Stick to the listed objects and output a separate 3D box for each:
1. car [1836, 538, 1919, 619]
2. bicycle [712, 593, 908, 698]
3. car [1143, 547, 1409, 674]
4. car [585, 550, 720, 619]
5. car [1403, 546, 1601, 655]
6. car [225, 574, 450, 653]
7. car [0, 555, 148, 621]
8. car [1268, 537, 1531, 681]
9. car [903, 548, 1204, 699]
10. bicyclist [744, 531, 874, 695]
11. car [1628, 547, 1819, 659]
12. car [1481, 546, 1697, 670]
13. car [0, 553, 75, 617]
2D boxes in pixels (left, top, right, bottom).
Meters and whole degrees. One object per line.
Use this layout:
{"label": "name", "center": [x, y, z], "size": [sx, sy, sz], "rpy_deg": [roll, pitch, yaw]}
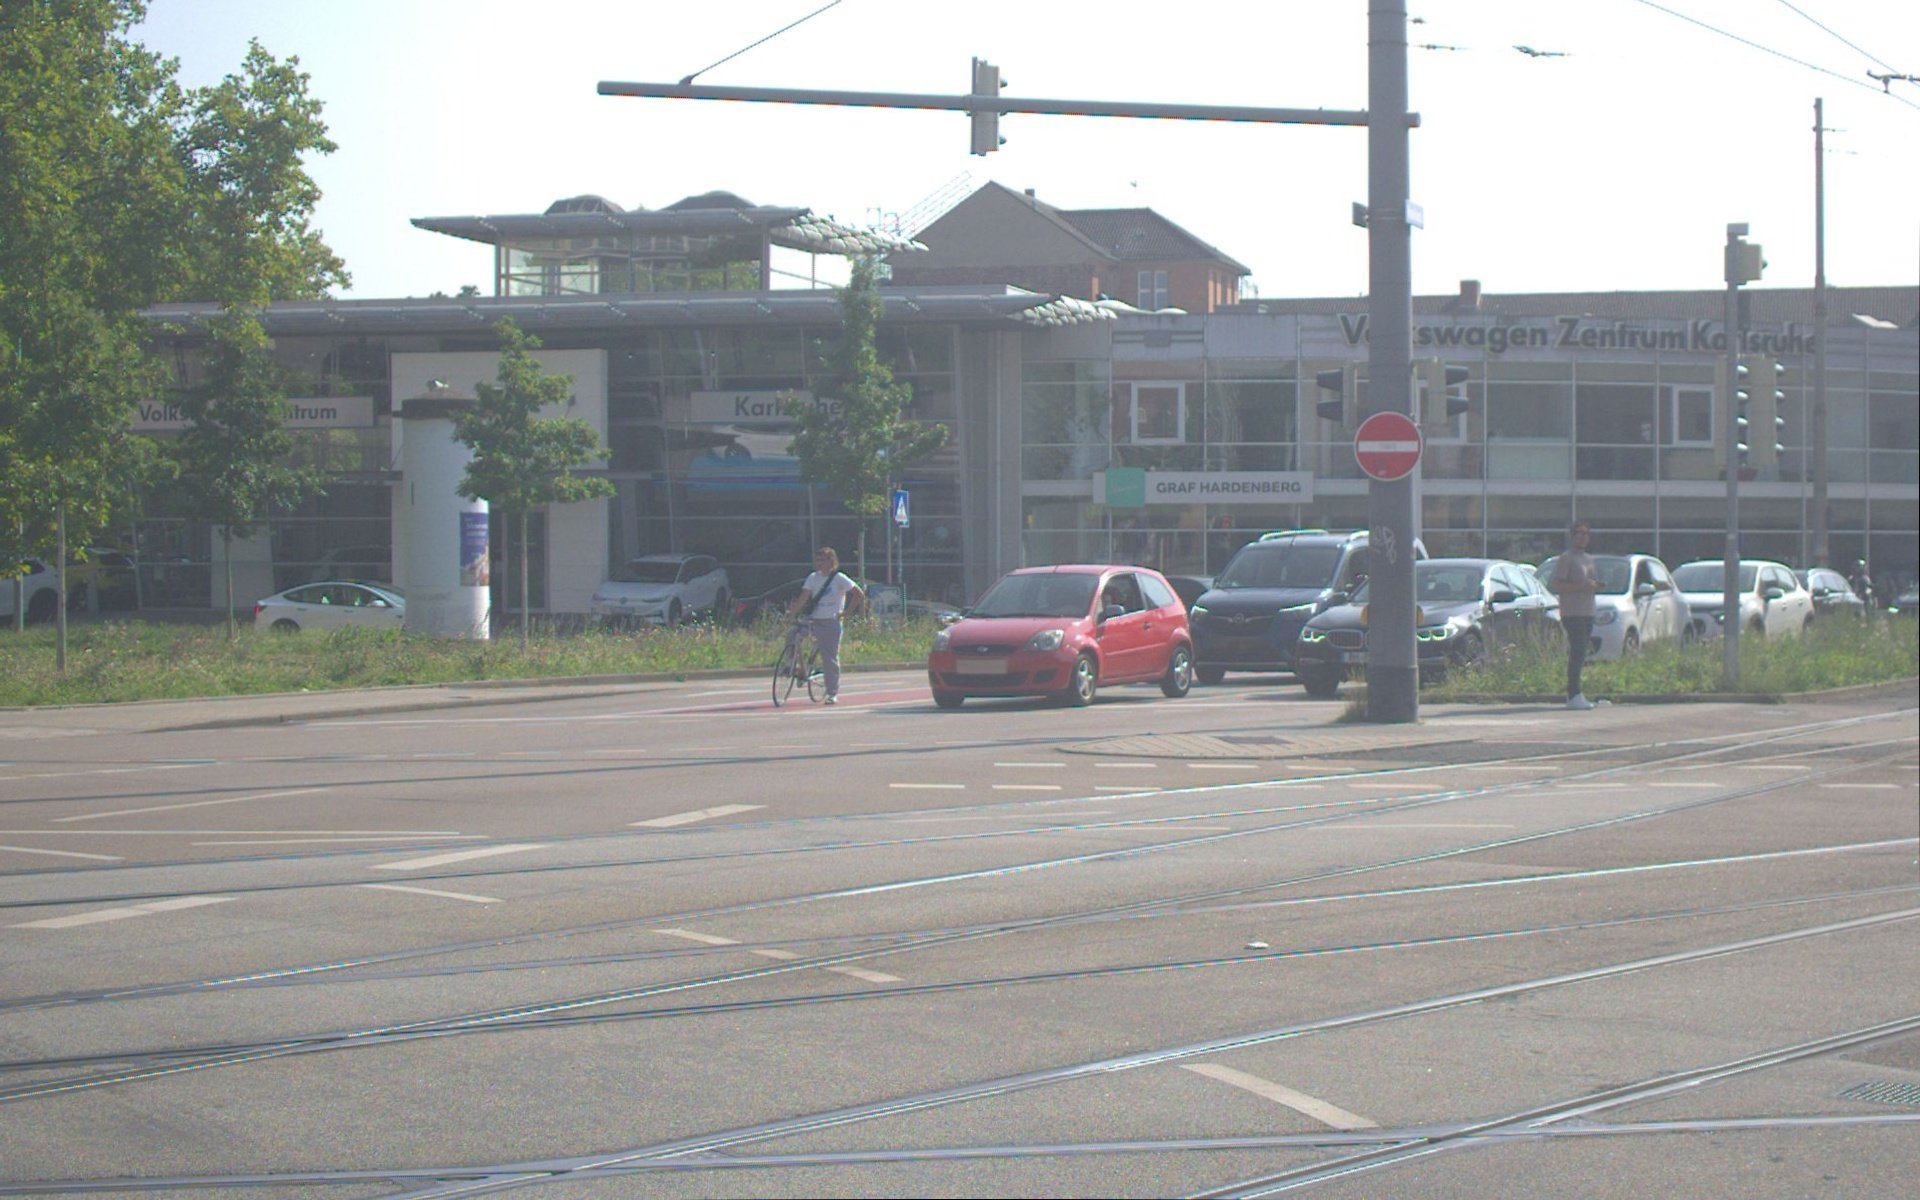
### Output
{"label": "car", "center": [18.102, -0.429, 65.925], "size": [1.616, 1.470, 3.994], "rpy_deg": [-2, 0, 27]}
{"label": "bicycle", "center": [-1.601, 0.474, 37.273], "size": [0.959, 1.053, 2.604], "rpy_deg": [1, 1, 27]}
{"label": "car", "center": [3.994, 0.104, 42.916], "size": [1.963, 1.470, 3.994], "rpy_deg": [-2, 0, 26]}
{"label": "car", "center": [-6.928, -0.373, 77.781], "size": [1.701, 1.517, 4.096], "rpy_deg": [0, 1, 15]}
{"label": "car", "center": [7.901, -0.012, 49.839], "size": [1.616, 1.470, 3.994], "rpy_deg": [-2, 0, 27]}
{"label": "car", "center": [-12.451, 0.255, 68.799], "size": [4.089, 1.517, 1.704], "rpy_deg": [0, 1, 17]}
{"label": "car", "center": [-21.669, -0.296, 81.567], "size": [1.704, 1.517, 4.503], "rpy_deg": [1, 1, 43]}
{"label": "car", "center": [4.899, 0.072, 37.875], "size": [1.616, 1.470, 3.994], "rpy_deg": [-2, 0, 26]}
{"label": "car", "center": [1.049, 0.217, 36.322], "size": [1.616, 1.470, 3.994], "rpy_deg": [-2, 0, 26]}
{"label": "bicyclist", "center": [-1.629, 0.129, 37.209], "size": [0.959, 1.742, 1.164], "rpy_deg": [1, 1, 27]}
{"label": "car", "center": [10.768, 0.022, 48.290], "size": [1.616, 1.470, 3.994], "rpy_deg": [-2, 0, 27]}
{"label": "car", "center": [8.022, 0.076, 43.592], "size": [1.616, 1.470, 3.994], "rpy_deg": [-2, 0, 26]}
{"label": "car", "center": [-23.739, -0.362, 82.792], "size": [1.704, 1.517, 4.503], "rpy_deg": [1, 1, 43]}
